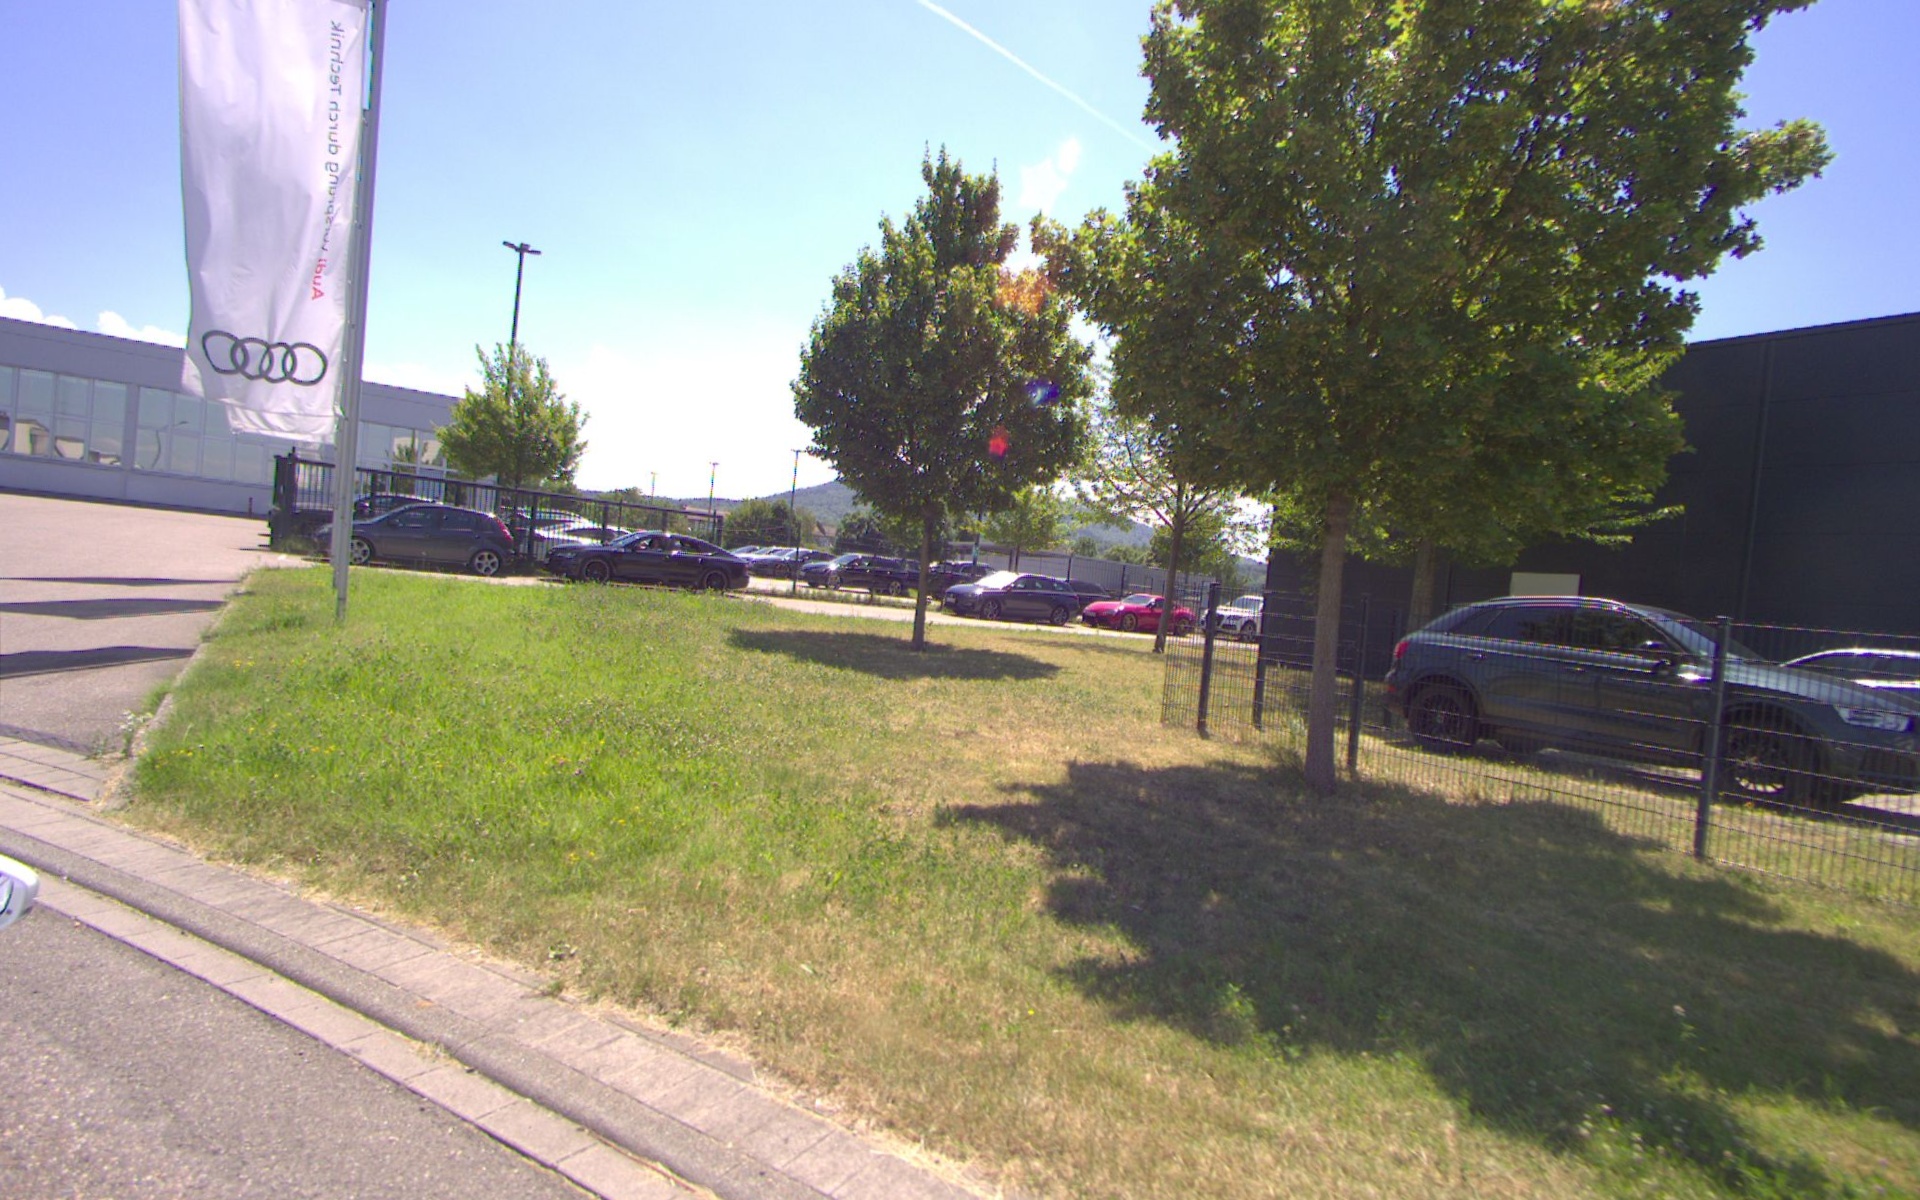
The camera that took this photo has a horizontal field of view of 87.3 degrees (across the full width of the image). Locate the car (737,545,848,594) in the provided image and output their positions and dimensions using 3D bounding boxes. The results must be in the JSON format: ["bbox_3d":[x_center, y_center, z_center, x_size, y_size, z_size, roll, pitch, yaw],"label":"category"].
[{"bbox_3d":[-6.947,-1.252,41.833,3.962,1.576,2.092,5,1,-36],"label":"car"}]

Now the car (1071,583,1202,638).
[{"bbox_3d":[5.932,0.366,33.760,4.127,1.375,1.764,5,2,-32],"label":"car"}]

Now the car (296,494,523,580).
[{"bbox_3d":[-11.875,-1.346,21.828,4.101,1.367,1.764,5,2,-32],"label":"car"}]

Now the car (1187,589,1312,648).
[{"bbox_3d":[10.550,0.689,36.640,4.349,1.669,1.809,5,3,-32],"label":"car"}]

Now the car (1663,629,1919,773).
[{"bbox_3d":[12.065,1.353,13.274,1.762,1.586,4.135,5,0,-34],"label":"car"}]

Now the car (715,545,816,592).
[{"bbox_3d":[-8.831,-1.440,45.799,3.965,1.710,1.978,5,2,-39],"label":"car"}]

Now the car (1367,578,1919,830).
[{"bbox_3d":[6.138,0.736,9.051,1.762,1.621,4.245,5,0,-34],"label":"car"}]

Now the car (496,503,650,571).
[{"bbox_3d":[-12.157,-1.965,31.702,4.171,1.651,1.778,5,2,-35],"label":"car"}]

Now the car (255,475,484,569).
[{"bbox_3d":[-14.332,-1.876,24.557,4.581,1.651,1.948,5,3,-35],"label":"car"}]

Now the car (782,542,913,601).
[{"bbox_3d":[-4.190,-1.053,37.790,4.439,1.710,1.978,5,2,-39],"label":"car"}]

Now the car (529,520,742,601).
[{"bbox_3d":[-7.760,-0.941,24.192,4.523,1.420,1.765,5,2,-32],"label":"car"}]

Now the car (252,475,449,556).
[{"bbox_3d":[-17.318,-2.379,28.699,4.581,1.651,1.948,5,3,-35],"label":"car"}]

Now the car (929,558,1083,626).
[{"bbox_3d":[1.428,-0.217,30.600,4.358,1.588,1.764,5,3,-32],"label":"car"}]
